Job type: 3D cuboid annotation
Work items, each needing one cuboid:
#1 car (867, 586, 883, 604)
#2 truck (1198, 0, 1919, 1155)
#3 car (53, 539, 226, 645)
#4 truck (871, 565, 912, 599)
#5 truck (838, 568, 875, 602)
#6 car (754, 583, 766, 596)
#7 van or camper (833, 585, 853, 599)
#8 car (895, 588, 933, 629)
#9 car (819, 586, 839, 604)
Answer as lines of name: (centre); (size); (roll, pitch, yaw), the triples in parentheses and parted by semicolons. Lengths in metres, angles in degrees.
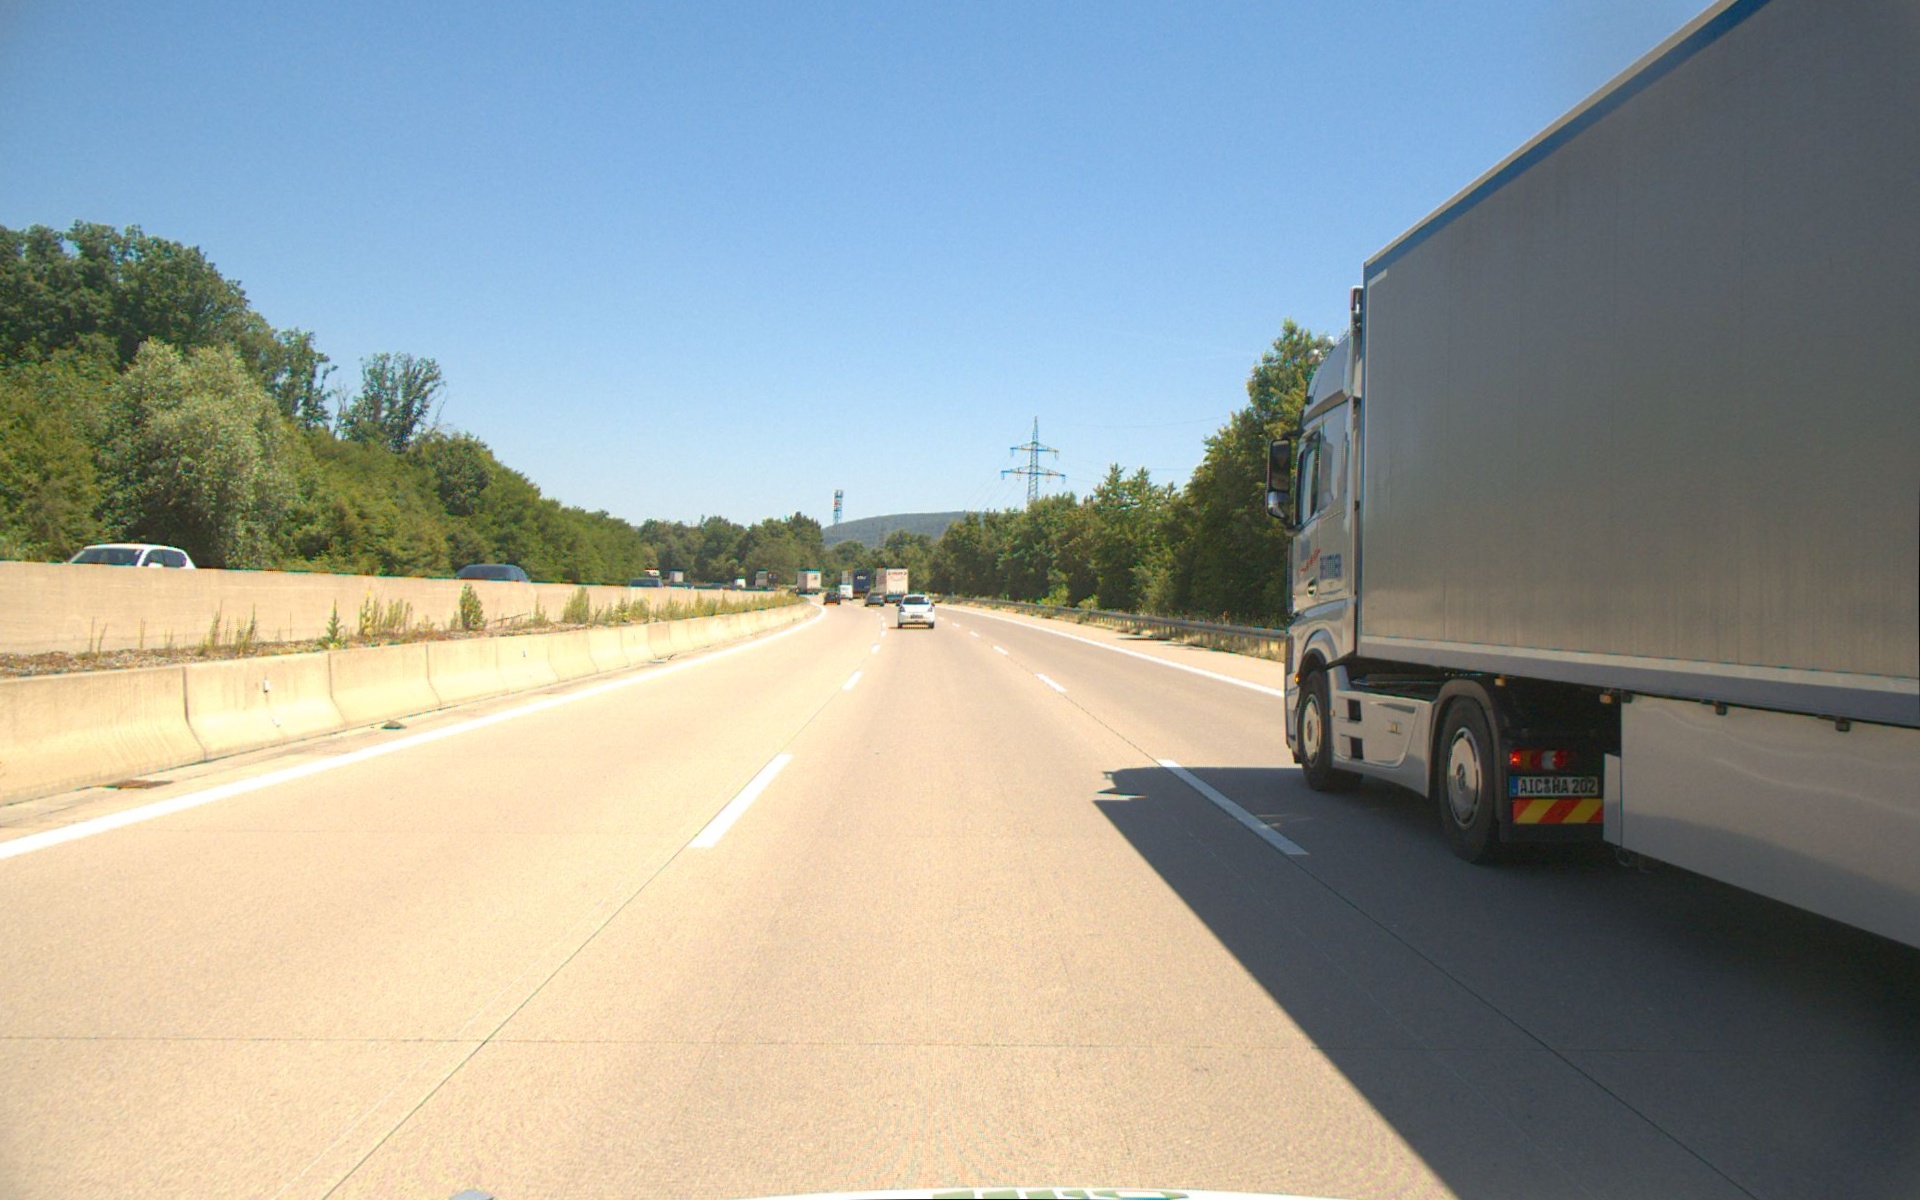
car: (-8.447, -0.476, 164.702); (1.578, 1.755, 3.571); (0, 0, -4)
truck: (4.586, -1.270, 7.755); (3.505, 5.887, 18.241); (3, 0, -2)
car: (-16.846, -0.158, 34.169); (1.601, 2.049, 4.102); (1, 0, -2)
truck: (-8.294, -2.109, 196.960); (3.747, 3.957, 14.131); (0, 0, -7)
truck: (-15.393, -2.217, 244.531); (3.837, 4.824, 14.015); (0, 0, -10)
car: (-31.003, -1.610, 256.598); (1.626, 1.956, 4.004); (1, 0, -4)
van or camper: (-15.736, -1.092, 221.740); (1.838, 1.870, 3.980); (0, 0, -18)
car: (-2.125, 0.380, 76.552); (1.608, 1.690, 3.359); (4, 0, -2)
car: (-14.313, -0.577, 180.830); (1.982, 1.730, 3.998); (5, 0, -3)
